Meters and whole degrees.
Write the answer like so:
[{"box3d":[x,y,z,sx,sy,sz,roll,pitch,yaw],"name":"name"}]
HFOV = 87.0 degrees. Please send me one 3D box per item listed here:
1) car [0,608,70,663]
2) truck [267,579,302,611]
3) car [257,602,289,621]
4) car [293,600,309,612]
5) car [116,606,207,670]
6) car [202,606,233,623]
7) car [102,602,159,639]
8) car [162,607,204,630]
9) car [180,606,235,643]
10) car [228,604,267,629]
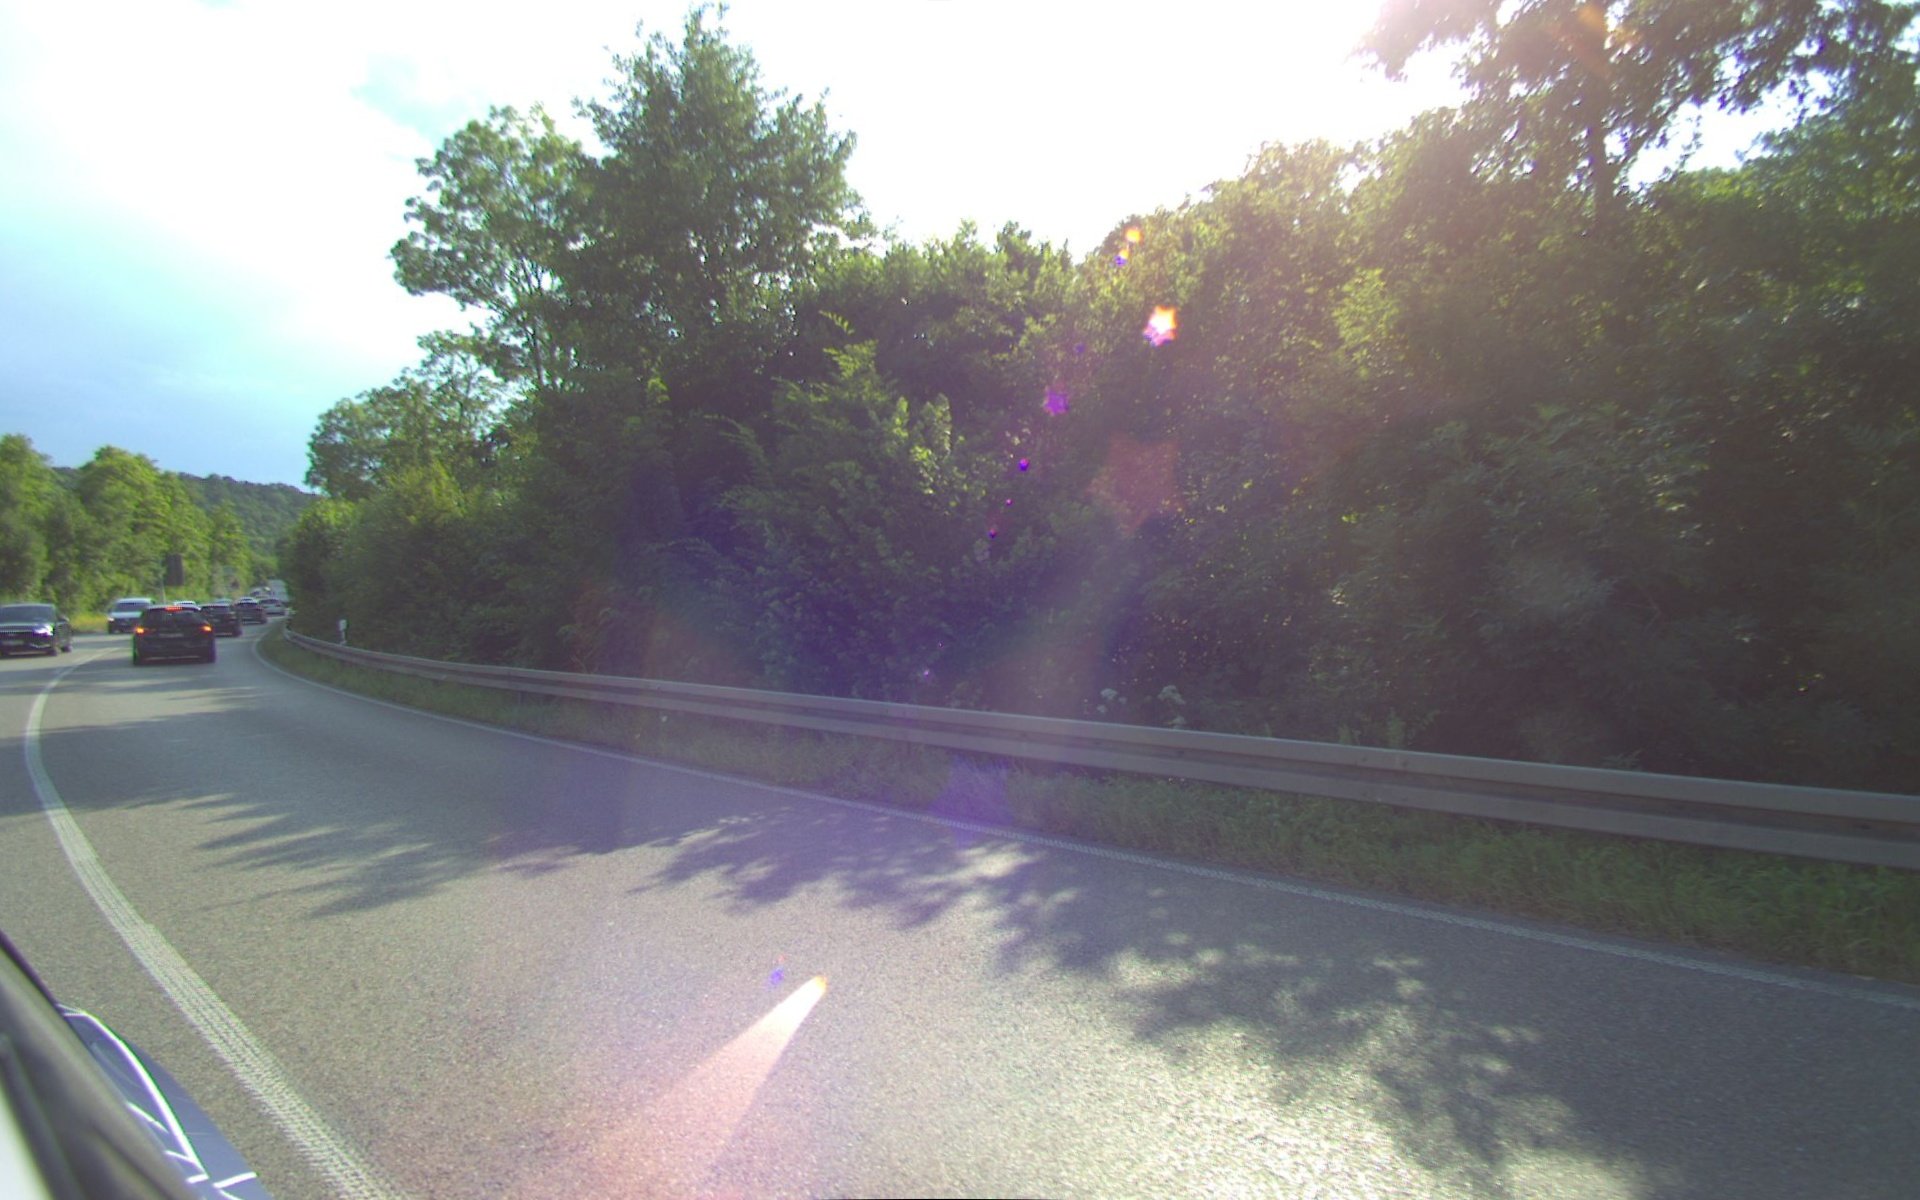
[{"box3d":[-29.400,1.060,31.740,1.819,1.581,4.267,-1,1,-36],"name":"car"},{"box3d":[-68.433,-0.522,102.601,2.422,3.095,6.284,-1,1,-29],"name":"truck"},{"box3d":[-55.352,0.890,81.543,1.767,1.456,3.806,-1,1,-29],"name":"car"},{"box3d":[-85.841,0.741,131.822,1.768,1.456,3.804,-1,1,-33],"name":"car"},{"box3d":[-21.972,0.991,27.983,1.843,1.601,4.258,0,-1,-36],"name":"car"},{"box3d":[-69.329,1.307,94.569,1.829,1.431,4.433,-4,2,-30],"name":"car"},{"box3d":[-43.625,1.035,53.314,1.838,1.733,4.776,-3,2,-34],"name":"car"},{"box3d":[-55.466,1.298,72.300,1.866,1.456,4.489,-4,2,-32],"name":"car"},{"box3d":[-32.944,1.034,44.393,1.825,1.519,4.414,0,0,-35],"name":"car"},{"box3d":[-43.624,0.969,62.016,1.637,1.456,3.933,-1,1,-30],"name":"car"}]
